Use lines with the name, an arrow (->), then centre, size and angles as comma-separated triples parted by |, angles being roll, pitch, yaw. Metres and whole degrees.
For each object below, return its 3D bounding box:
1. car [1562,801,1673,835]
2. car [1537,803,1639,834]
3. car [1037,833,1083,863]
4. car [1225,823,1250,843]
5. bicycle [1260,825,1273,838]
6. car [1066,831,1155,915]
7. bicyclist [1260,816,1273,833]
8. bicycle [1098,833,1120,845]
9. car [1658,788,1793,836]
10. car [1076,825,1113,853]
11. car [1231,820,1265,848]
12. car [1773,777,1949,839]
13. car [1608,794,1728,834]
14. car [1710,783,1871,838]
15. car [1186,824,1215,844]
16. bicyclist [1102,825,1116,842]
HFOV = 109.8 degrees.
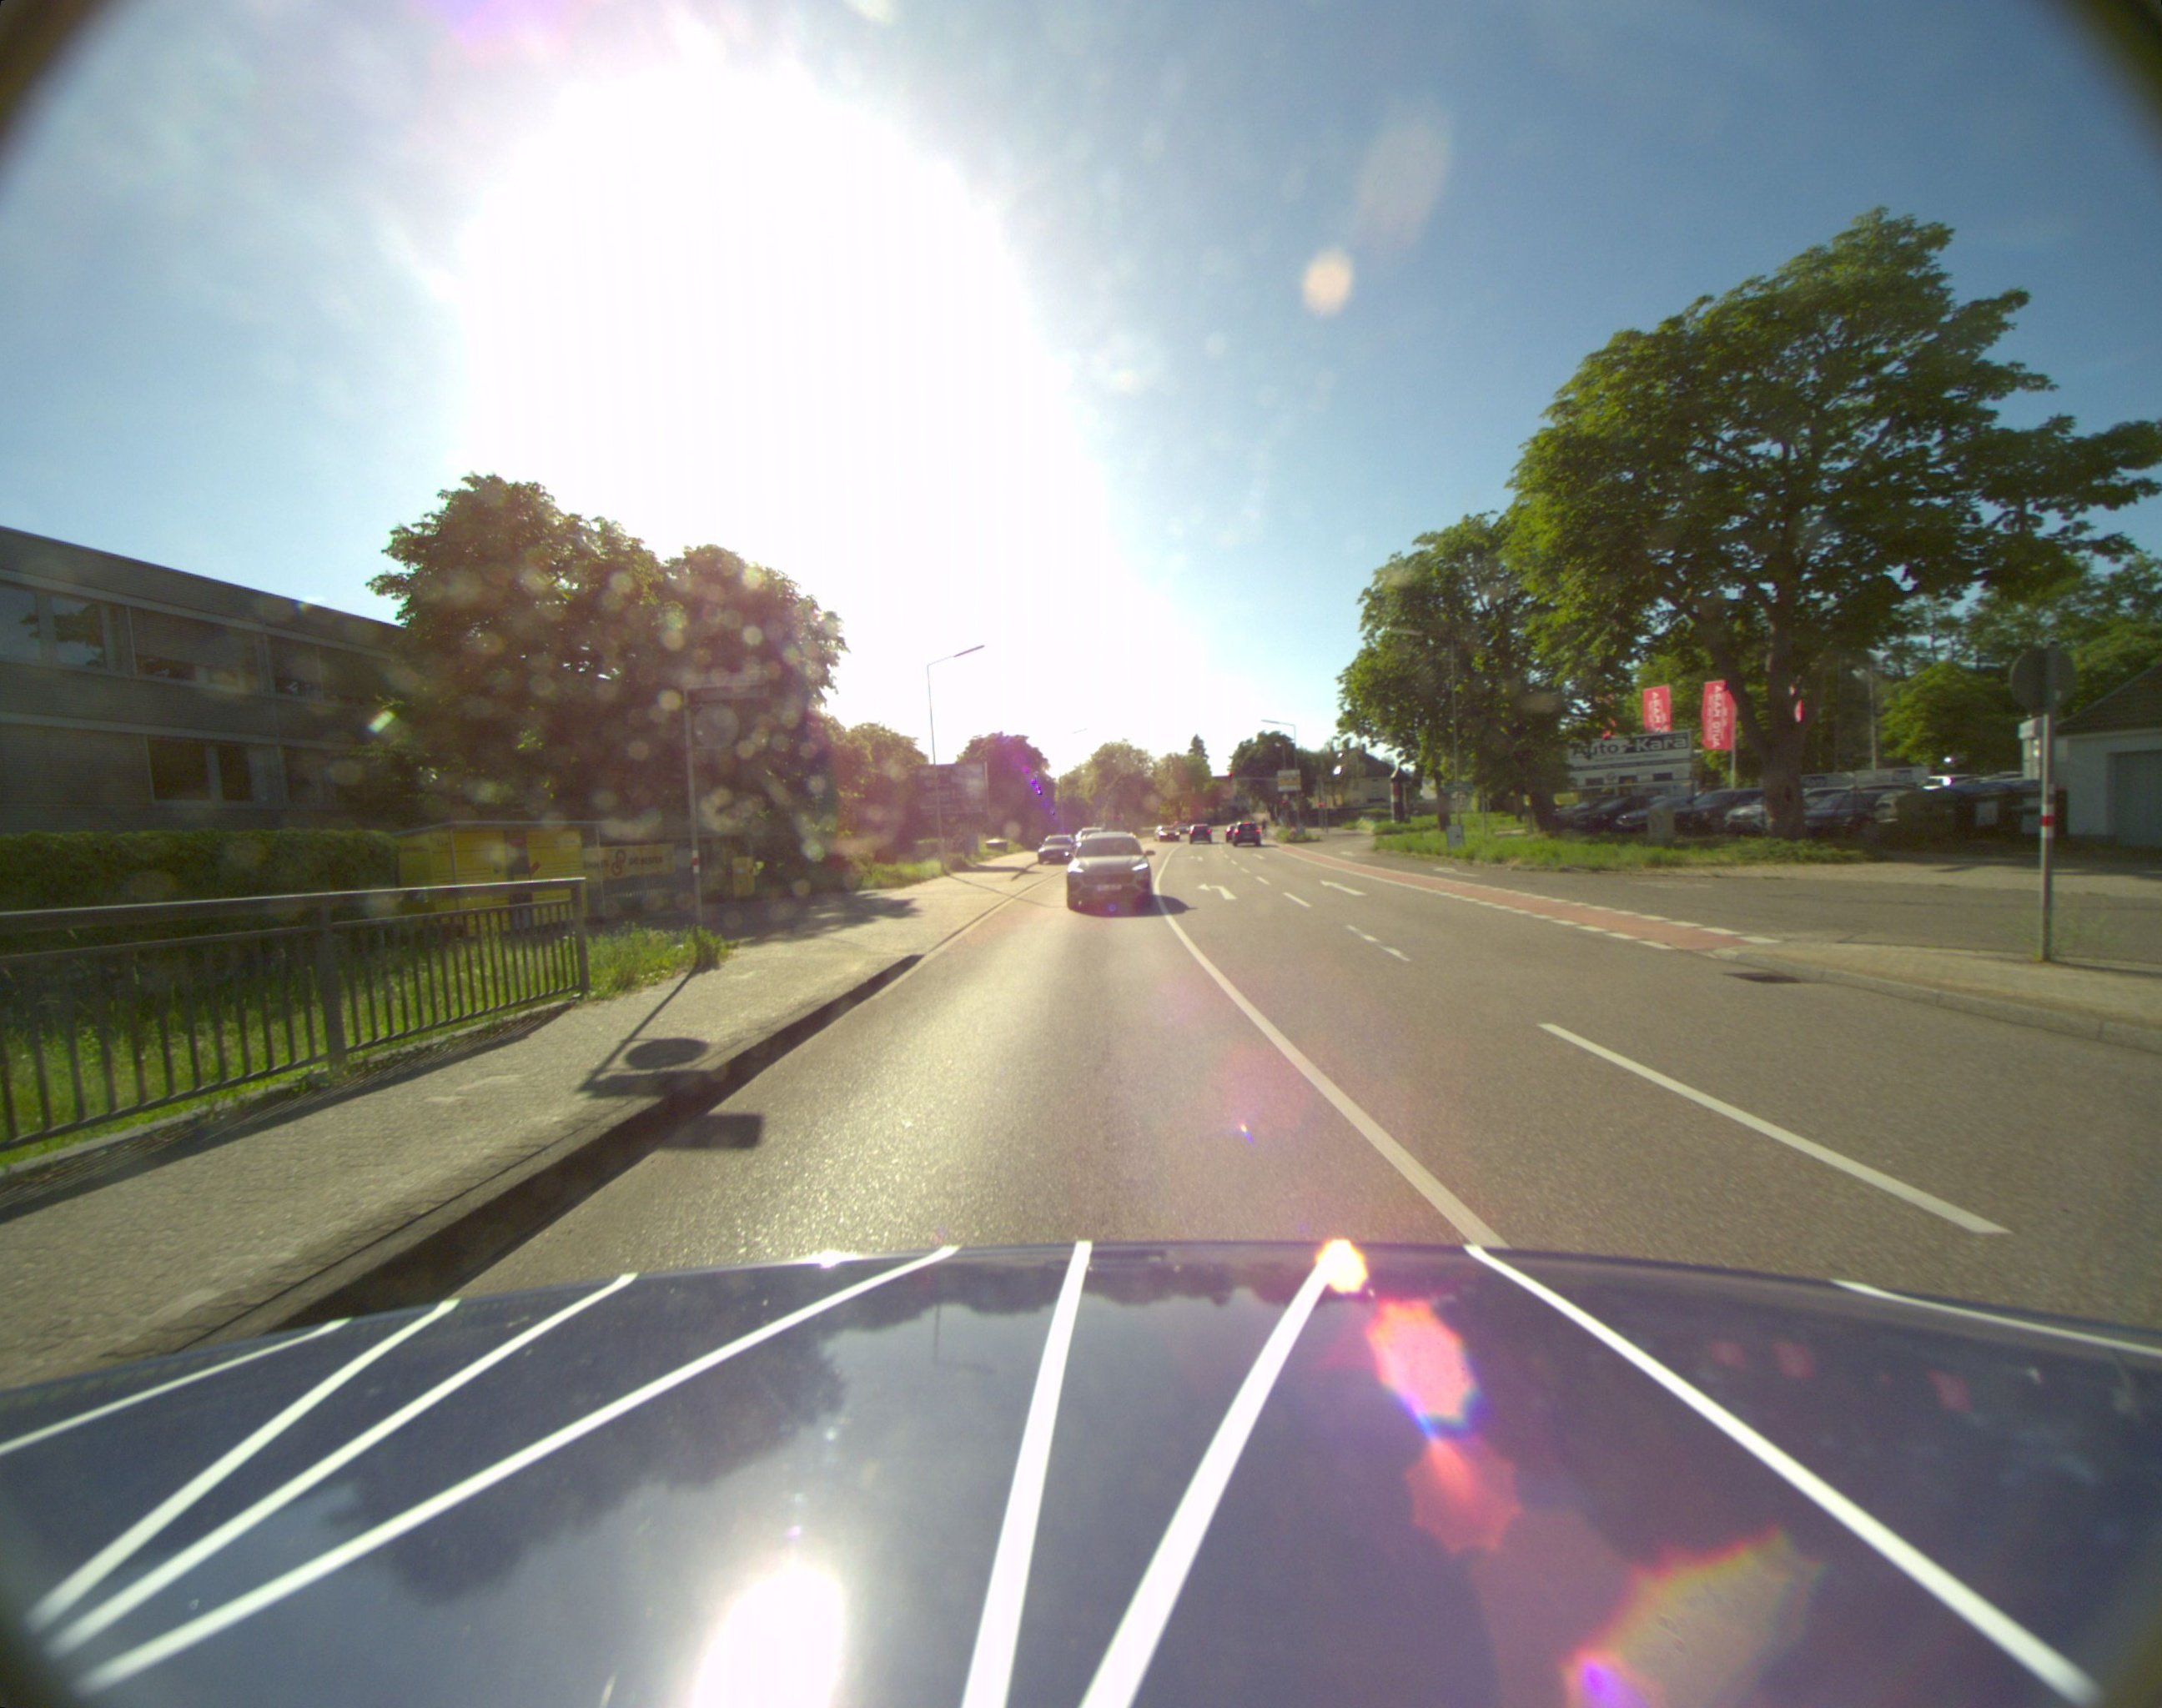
car -> 24.655, -1.647, 34.974 | 3.934, 1.233, 2.041 | -4, 2, -13
car -> 25.174, -1.775, 37.792 | 3.934, 1.233, 2.041 | -4, 2, -13
car -> -1.066, -0.373, 40.798 | 1.812, 1.412, 4.424 | 0, 3, 7
car -> 12.526, -1.738, 60.923 | 1.787, 1.407, 3.891 | -3, 3, 11
bicycle -> 15.901, -1.965, 65.062 | 0.938, 1.011, 2.198 | -3, 2, 11
car -> 0.682, 0.330, 17.252 | 1.714, 1.636, 4.054 | -2, 1, 3
bicyclist -> 15.843, -2.532, 64.901 | 0.935, 1.394, 0.823 | -3, 2, 11
bicycle -> 2.869, -1.541, 77.377 | 0.901, 1.119, 2.957 | -3, 2, 31
car -> 24.838, -1.617, 29.328 | 4.001, 1.552, 1.997 | -4, 3, -13
car -> 0.987, -1.102, 52.820 | 1.876, 1.713, 4.613 | -1, 3, 10
car -> 11.554, -1.406, 52.754 | 1.856, 1.726, 4.271 | -3, 2, 8
car -> 23.792, -1.392, 23.196 | 4.410, 1.566, 1.811 | -4, 2, -15
car -> 24.842, -1.668, 32.199 | 3.880, 1.405, 1.944 | -4, 2, -11
car -> 24.559, -1.494, 26.392 | 3.999, 1.602, 1.920 | -4, 2, -6
car -> 9.739, -1.653, 62.201 | 1.917, 1.590, 3.999 | -1, 2, 3
bicyclist -> 2.862, -2.101, 77.424 | 0.890, 1.683, 1.192 | -2, 3, 31
